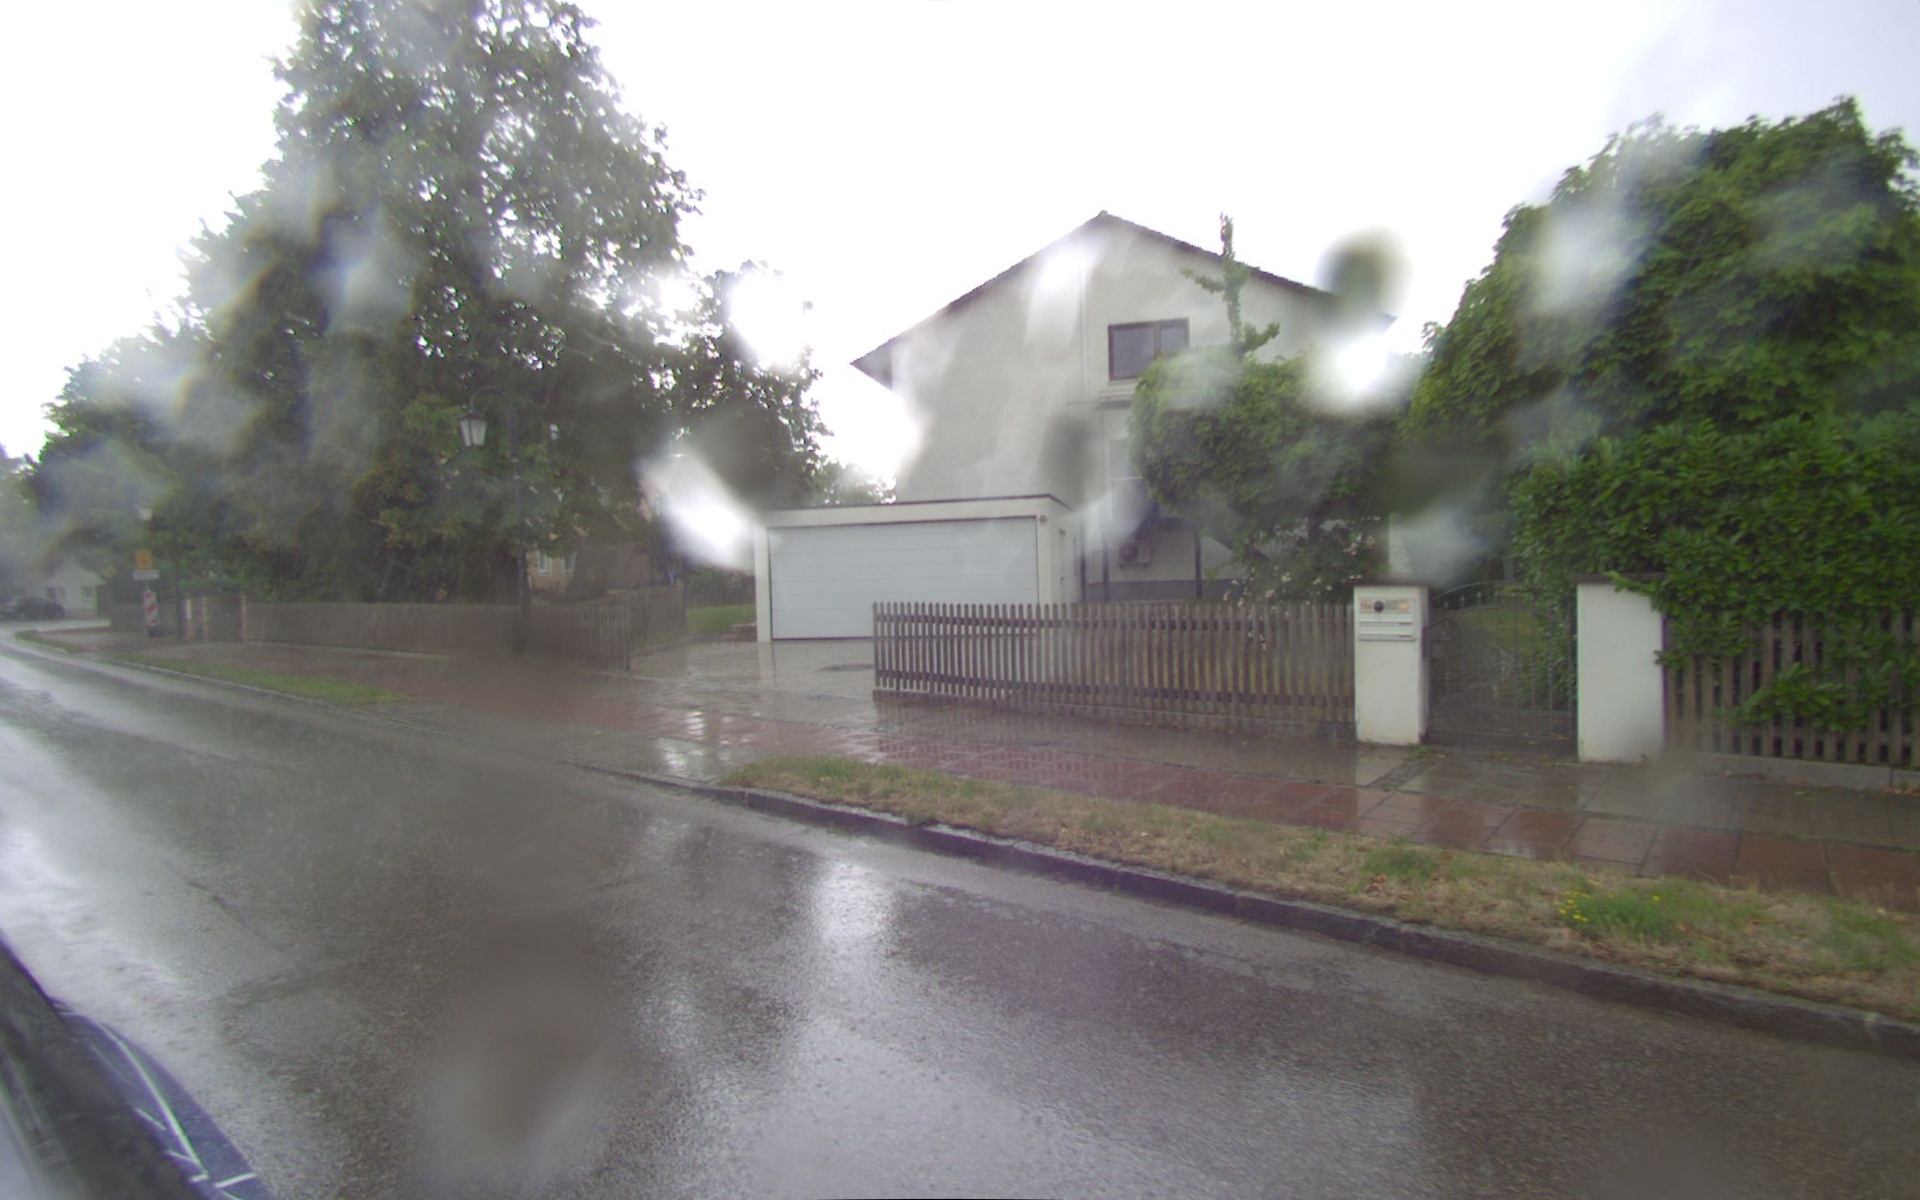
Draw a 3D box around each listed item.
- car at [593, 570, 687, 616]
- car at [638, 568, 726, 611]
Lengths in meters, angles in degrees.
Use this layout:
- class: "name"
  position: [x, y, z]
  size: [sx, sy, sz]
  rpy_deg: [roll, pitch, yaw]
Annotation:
- class: "car"
  position: [-14.634, -0.343, 46.367]
  size: [3.614, 1.815, 1.838]
  rpy_deg: [-3, 2, 8]
- class: "car"
  position: [-13.431, -0.504, 49.051]
  size: [3.614, 1.815, 1.838]
  rpy_deg: [-3, 2, 8]
